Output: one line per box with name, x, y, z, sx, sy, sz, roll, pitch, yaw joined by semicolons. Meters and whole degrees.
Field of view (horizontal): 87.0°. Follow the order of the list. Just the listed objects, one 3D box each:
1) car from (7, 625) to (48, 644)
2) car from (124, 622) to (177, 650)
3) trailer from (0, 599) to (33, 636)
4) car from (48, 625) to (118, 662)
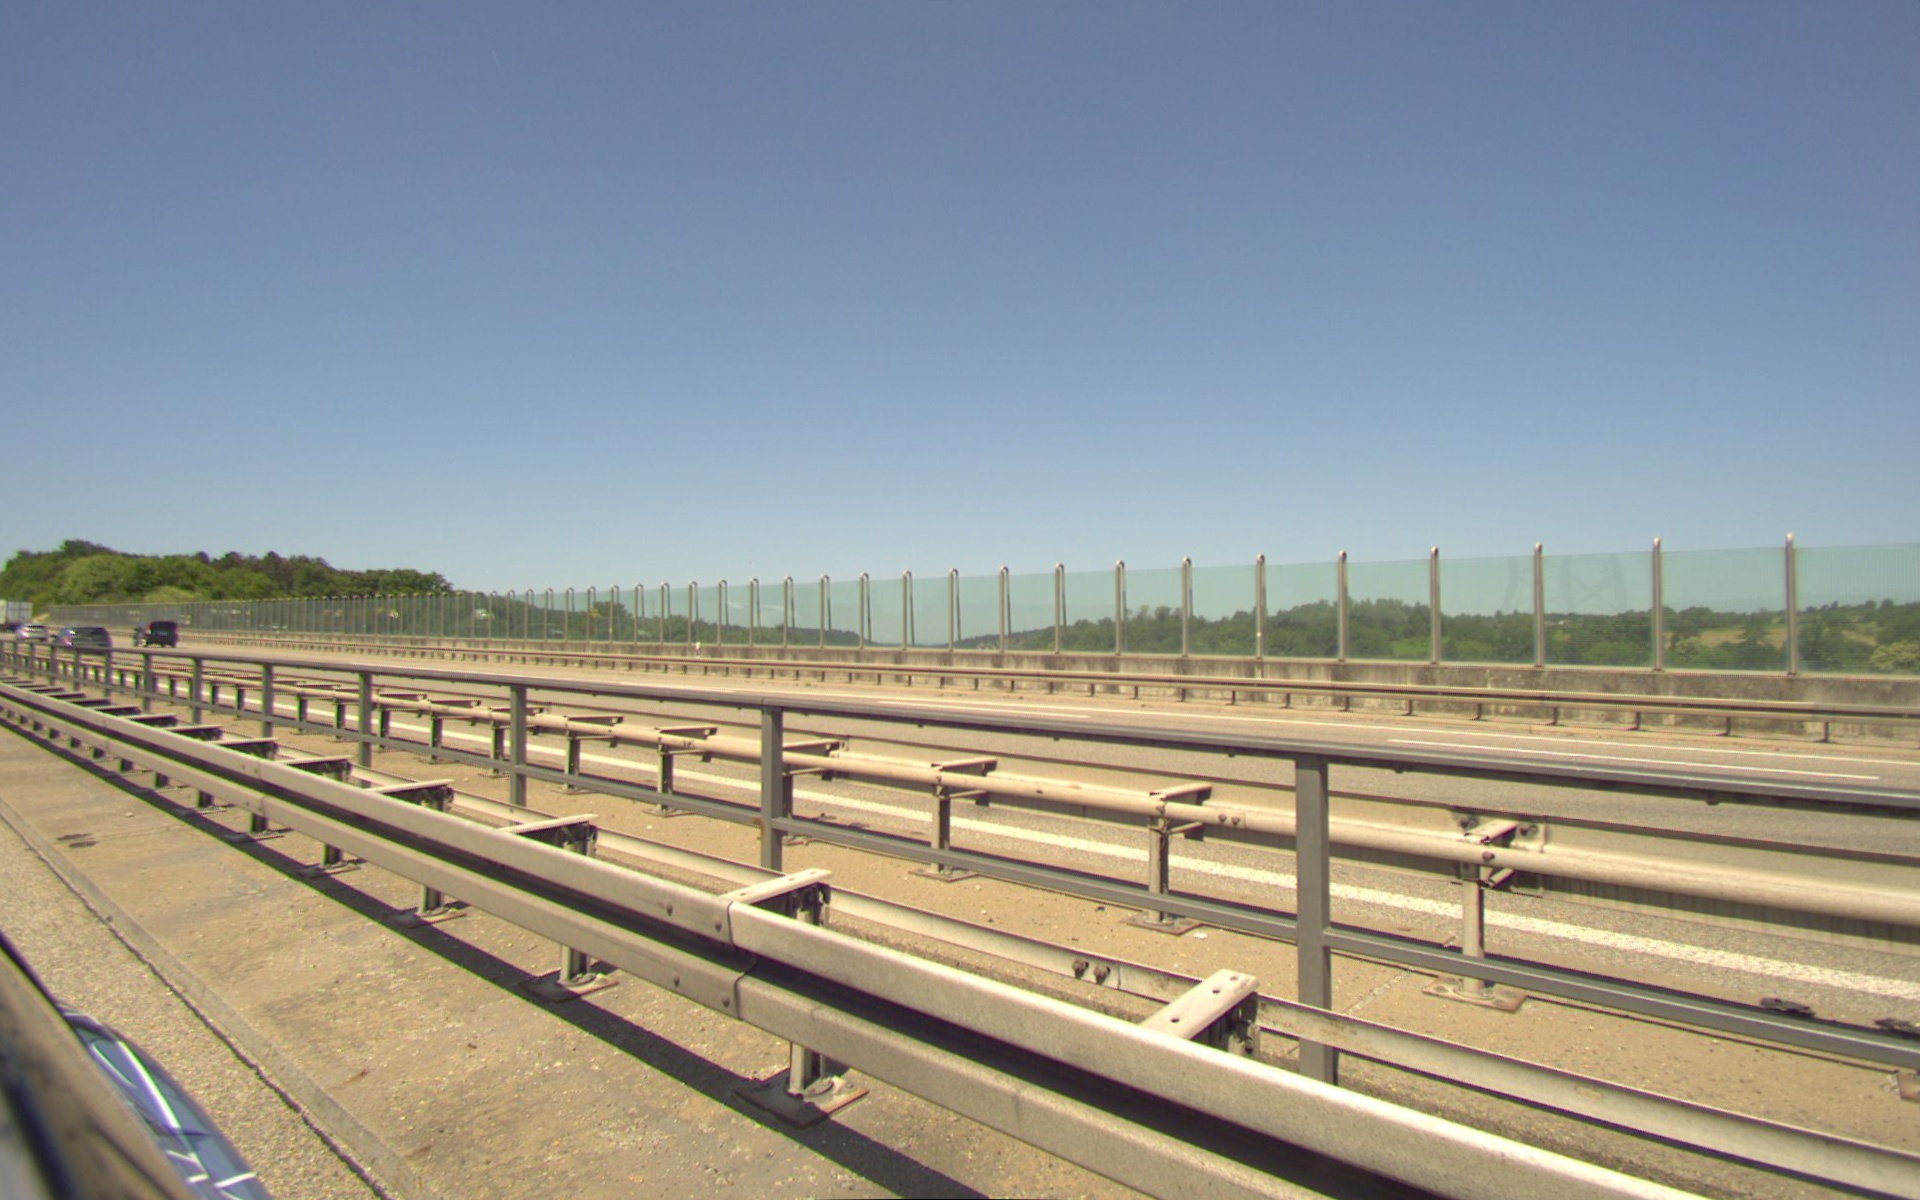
car;-77.501;2.868;84.102;4.383;1.556;1.972;-1;-3;41
car;-58.011;2.557;72.518;4.946;1.920;1.937;-1;-3;40
trailer;-118.619;2.232;126.658;13.665;4.340;2.873;-1;-3;44
car;-38.052;1.849;43.862;4.222;1.519;1.743;-1;-3;42
